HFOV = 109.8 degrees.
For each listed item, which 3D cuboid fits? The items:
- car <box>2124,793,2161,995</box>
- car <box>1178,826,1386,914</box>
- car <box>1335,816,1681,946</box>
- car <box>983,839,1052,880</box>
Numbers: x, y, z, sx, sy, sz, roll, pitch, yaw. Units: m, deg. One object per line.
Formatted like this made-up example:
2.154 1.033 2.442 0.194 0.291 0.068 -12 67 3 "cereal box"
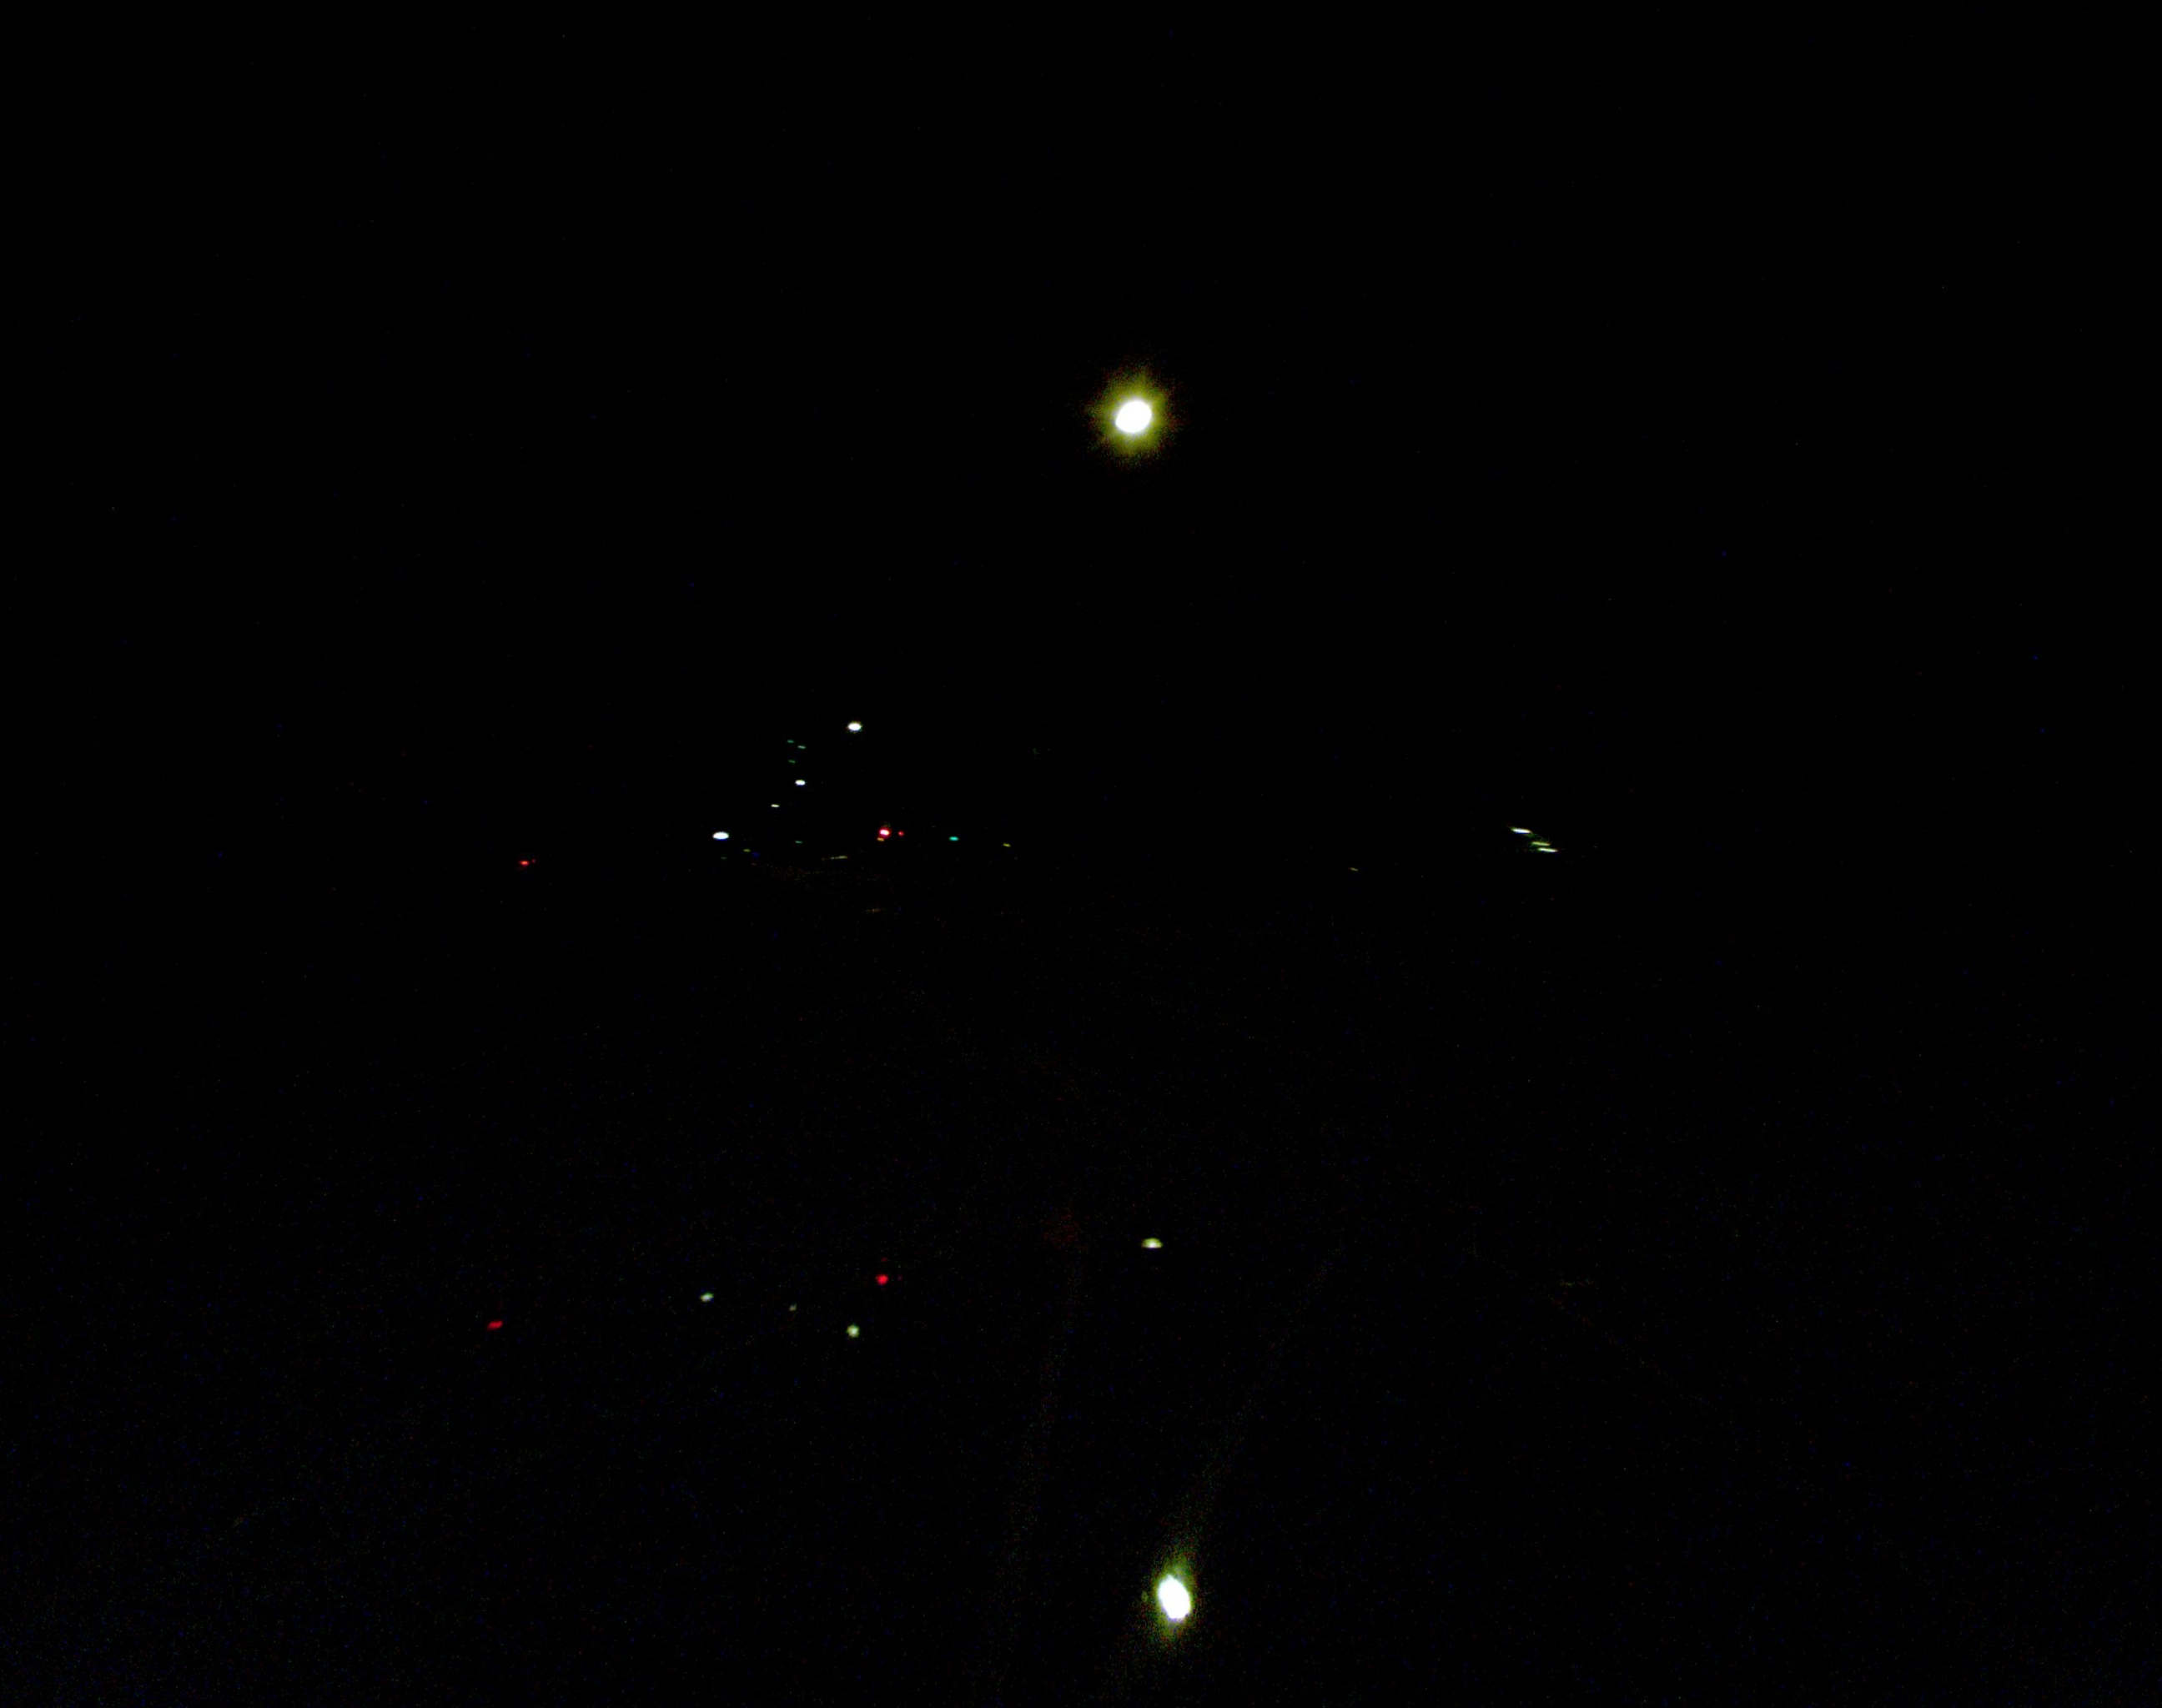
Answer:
9.603 0.224 4.119 1.868 1.426 4.394 -6 3 -26 "car"
3.987 0.286 15.860 1.645 1.426 4.340 -7 3 -26 "car"
6.033 0.314 11.381 1.558 1.426 4.338 -7 3 -25 "car"
-2.630 0.203 30.912 1.635 1.456 3.507 -4 2 -24 "car"
